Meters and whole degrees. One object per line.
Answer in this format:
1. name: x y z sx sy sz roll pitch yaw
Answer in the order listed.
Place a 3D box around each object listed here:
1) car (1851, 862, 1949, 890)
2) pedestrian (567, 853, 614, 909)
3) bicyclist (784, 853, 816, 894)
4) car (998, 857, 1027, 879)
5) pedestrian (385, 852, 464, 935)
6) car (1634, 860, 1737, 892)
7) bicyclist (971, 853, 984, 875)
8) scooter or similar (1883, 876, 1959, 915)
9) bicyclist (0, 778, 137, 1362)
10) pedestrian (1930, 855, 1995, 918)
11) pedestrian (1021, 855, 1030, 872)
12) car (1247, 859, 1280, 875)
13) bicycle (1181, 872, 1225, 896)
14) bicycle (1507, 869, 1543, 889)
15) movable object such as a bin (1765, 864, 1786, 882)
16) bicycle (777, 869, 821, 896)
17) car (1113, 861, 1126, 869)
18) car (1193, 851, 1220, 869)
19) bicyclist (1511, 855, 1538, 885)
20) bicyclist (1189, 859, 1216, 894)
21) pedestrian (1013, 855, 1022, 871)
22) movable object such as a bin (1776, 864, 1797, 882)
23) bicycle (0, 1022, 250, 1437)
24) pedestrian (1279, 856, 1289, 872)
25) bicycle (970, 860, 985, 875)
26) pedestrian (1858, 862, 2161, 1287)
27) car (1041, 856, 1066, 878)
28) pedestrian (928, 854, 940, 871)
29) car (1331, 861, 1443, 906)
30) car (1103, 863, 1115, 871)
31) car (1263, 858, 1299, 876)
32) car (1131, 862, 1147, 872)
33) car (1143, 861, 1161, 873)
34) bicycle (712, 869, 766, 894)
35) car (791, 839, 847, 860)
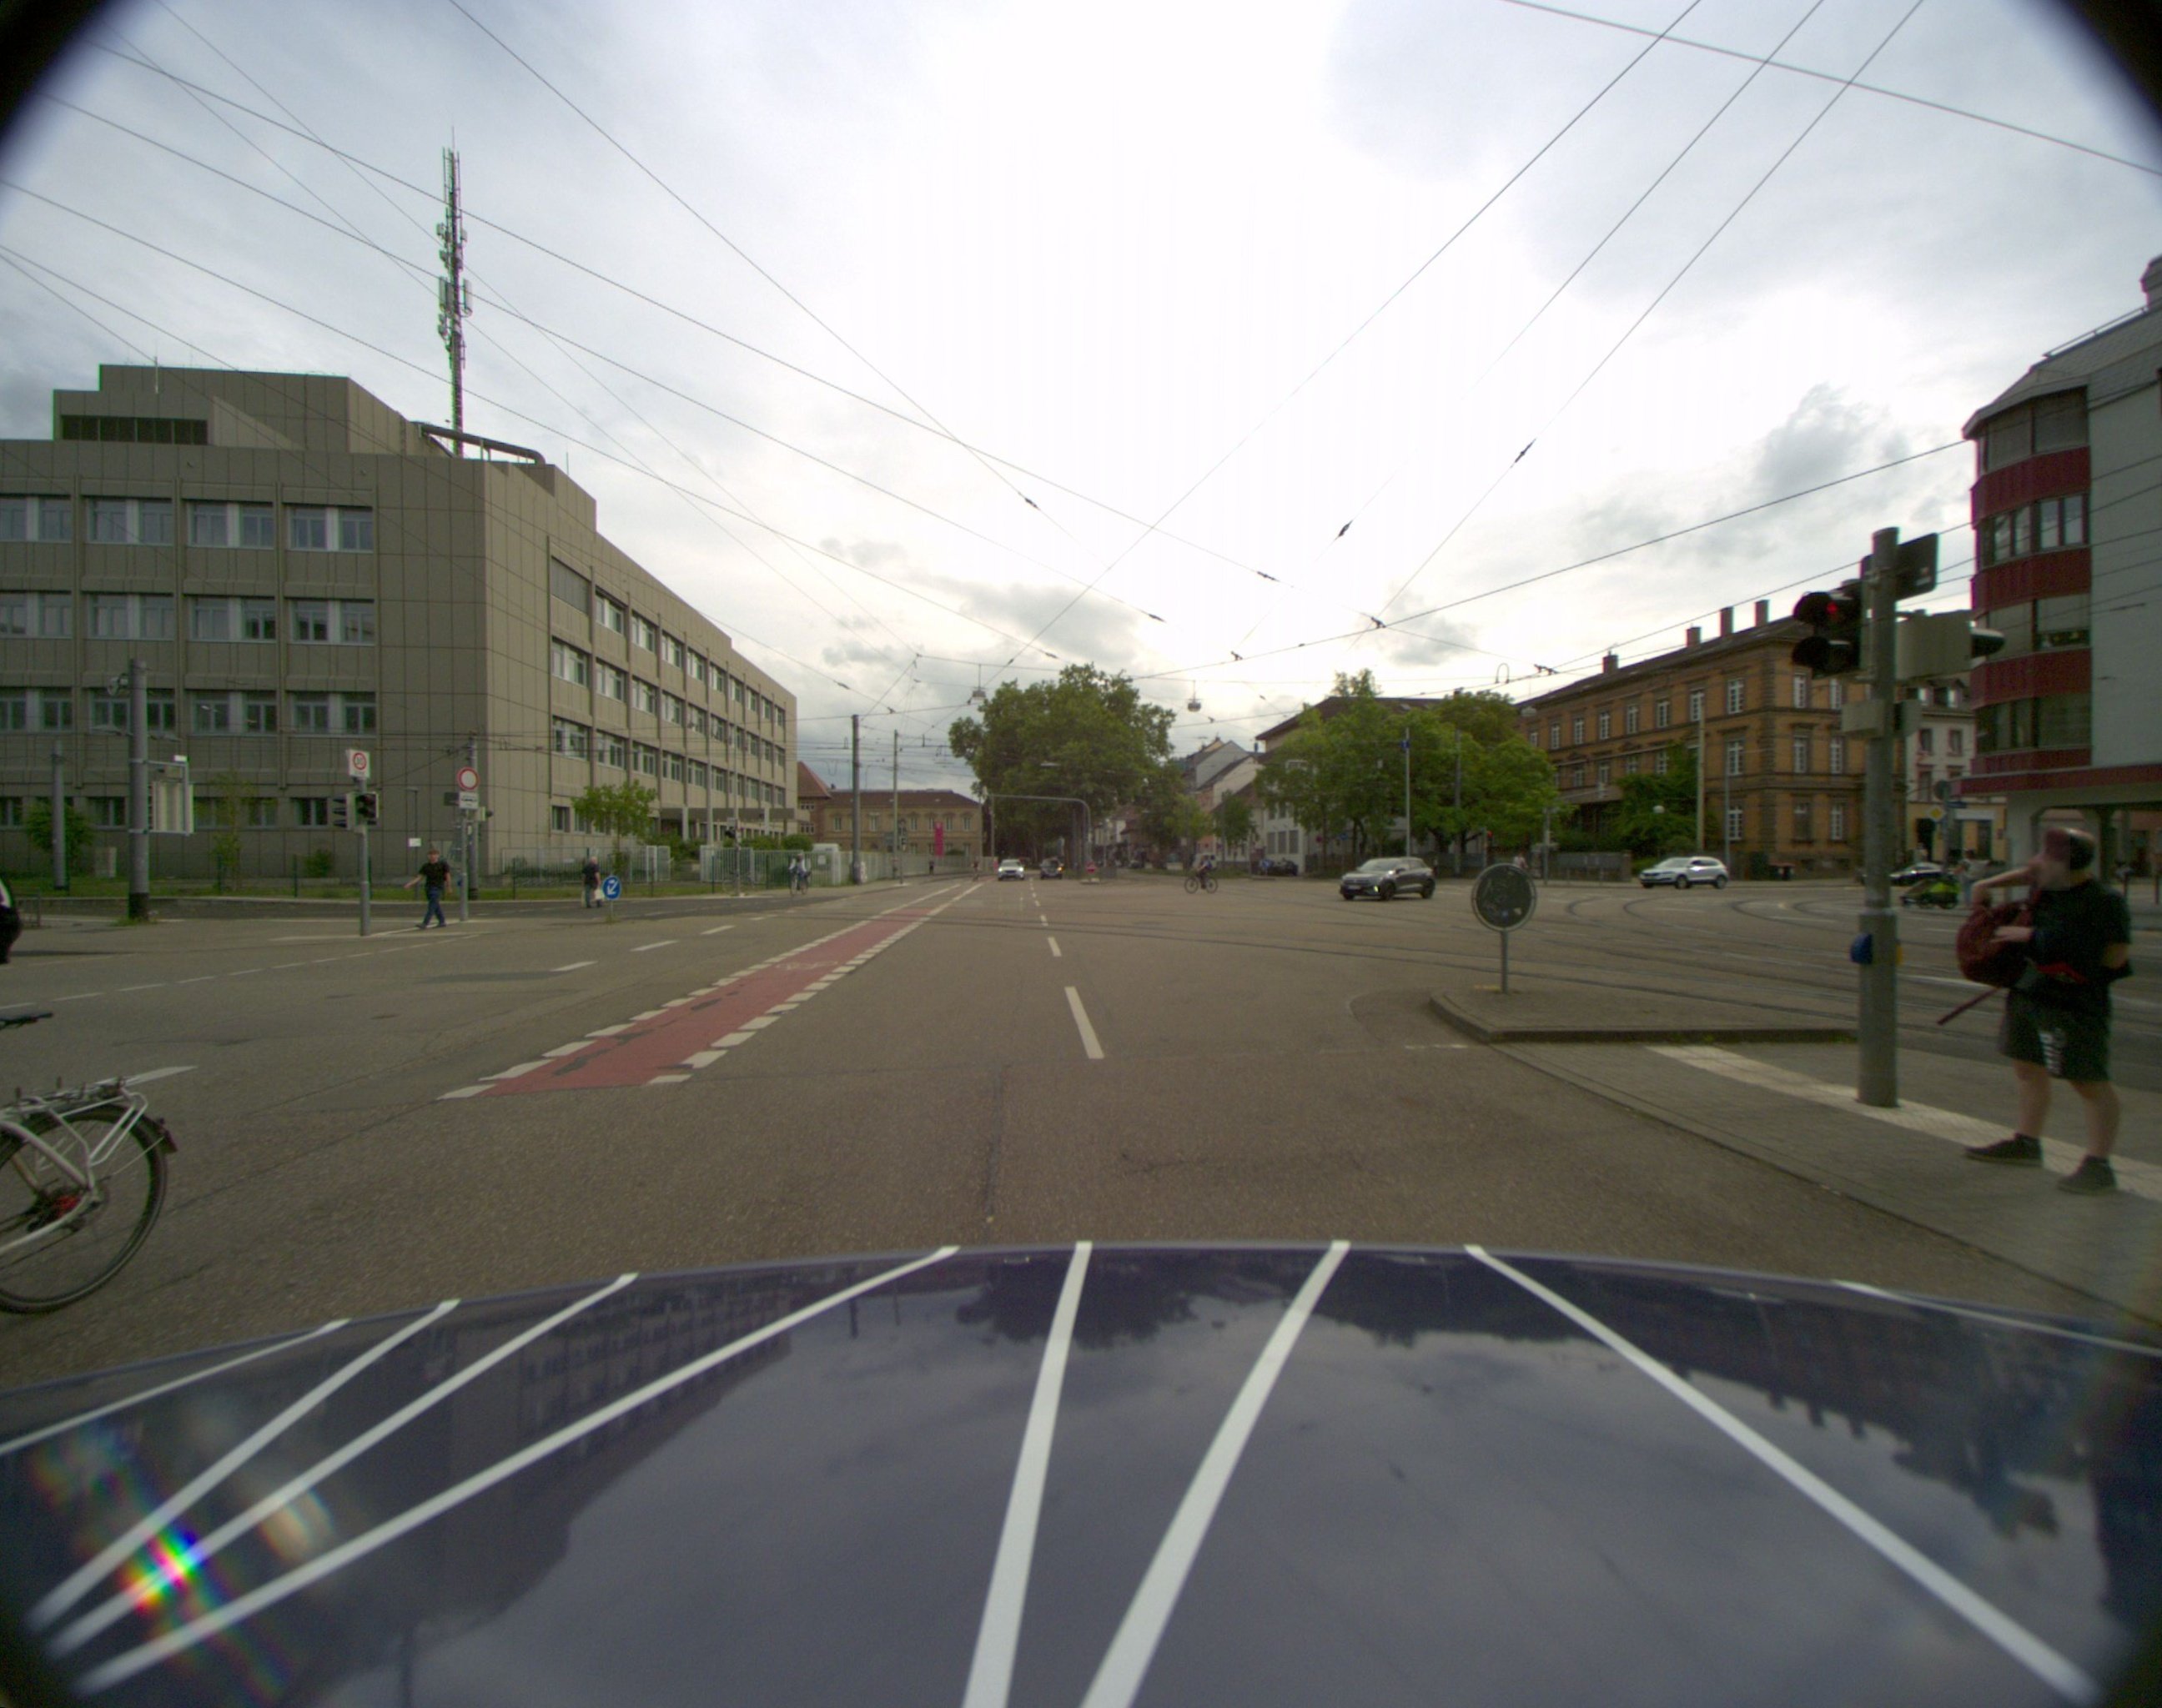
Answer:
1. car: 45.437 1.213 42.166 4.049 1.525 1.773 0 -1 -10
2. pedestrian: -16.288 0.878 25.266 0.901 1.845 0.992 0 0 3
3. bicyclist: -12.015 0.815 32.548 0.802 1.691 1.183 0 0 9
4. car: -4.928 0.999 55.135 1.999 1.495 4.419 0 0 -4
5. pedestrian: -15.469 0.900 17.937 0.901 1.887 1.089 0 0 -1
6. car: 30.503 1.101 38.376 4.284 1.581 1.773 0 -1 -13
7. bicyclist: -7.495 0.722 55.090 0.802 1.541 1.328 0 0 -2
8. scooter or similar: 24.808 1.209 22.454 0.947 1.122 1.198 0 -1 -13
9. bicyclist: -3.641 0.656 2.013 0.799 1.775 1.232 0 0 -10
10. pedestrian: 25.030 0.908 21.590 0.812 1.733 0.949 0 0 -14
11. pedestrian: -6.281 1.056 86.339 0.835 1.854 1.252 0 0 4
12. car: 17.625 1.213 73.709 1.760 1.527 4.418 0 0 -6
13. bicycle: 5.384 1.328 33.627 1.802 1.012 0.713 1 0 -23
14. bicycle: 25.551 1.407 43.773 0.751 1.080 2.015 0 0 -6
15. movable object such as a bin: 43.465 1.184 47.557 0.678 1.077 0.651 -1 4 -15
16. bicycle: -12.034 1.185 32.511 0.802 1.080 2.186 0 0 9
17. car: 8.215 2.317 160.542 2.097 1.796 4.418 0 0 -6
18. car: 15.444 0.693 93.747 2.097 2.177 4.418 0 0 -6
19. bicyclist: 25.552 0.912 43.798 0.748 1.750 1.252 0 0 -6
20. bicyclist: 5.368 0.979 33.618 0.920 1.498 0.714 1 0 -23
21. pedestrian: -7.196 0.993 86.310 0.835 1.854 1.176 0 0 4
22. movable object such as a bin: 44.240 1.174 47.646 0.701 1.077 0.664 -1 4 -15
23. bicycle: -3.643 1.232 2.016 0.803 1.080 2.129 0 0 -10
24. pedestrian: 20.815 1.018 78.000 0.769 1.641 0.765 0 1 -6
25. bicycle: -7.498 0.975 55.167 0.802 1.080 2.562 0 0 -2
26. pedestrian: 4.388 0.872 3.444 0.765 1.661 0.938 0 0 2
27. car: -2.033 0.956 56.893 1.836 1.557 4.420 0 0 -1
28. pedestrian: -13.208 0.784 68.471 0.883 1.560 0.980 0 0 1
29. car: 11.330 1.035 28.046 4.290 1.538 1.770 0 0 -35
30. car: 6.316 2.846 172.338 2.097 1.796 4.418 0 0 -6
31. car: 18.106 1.157 68.876 1.736 1.552 4.418 0 0 -6
32. car: 10.388 2.368 136.376 2.097 1.796 4.418 0 0 -6
33. car: 11.752 2.145 125.786 2.097 1.796 4.418 0 0 -6
34. bicycle: -15.636 1.225 34.759 0.632 0.975 2.162 0 3 38
35. car: -30.617 -0.466 89.021 5.900 2.384 2.567 0 0 -9
